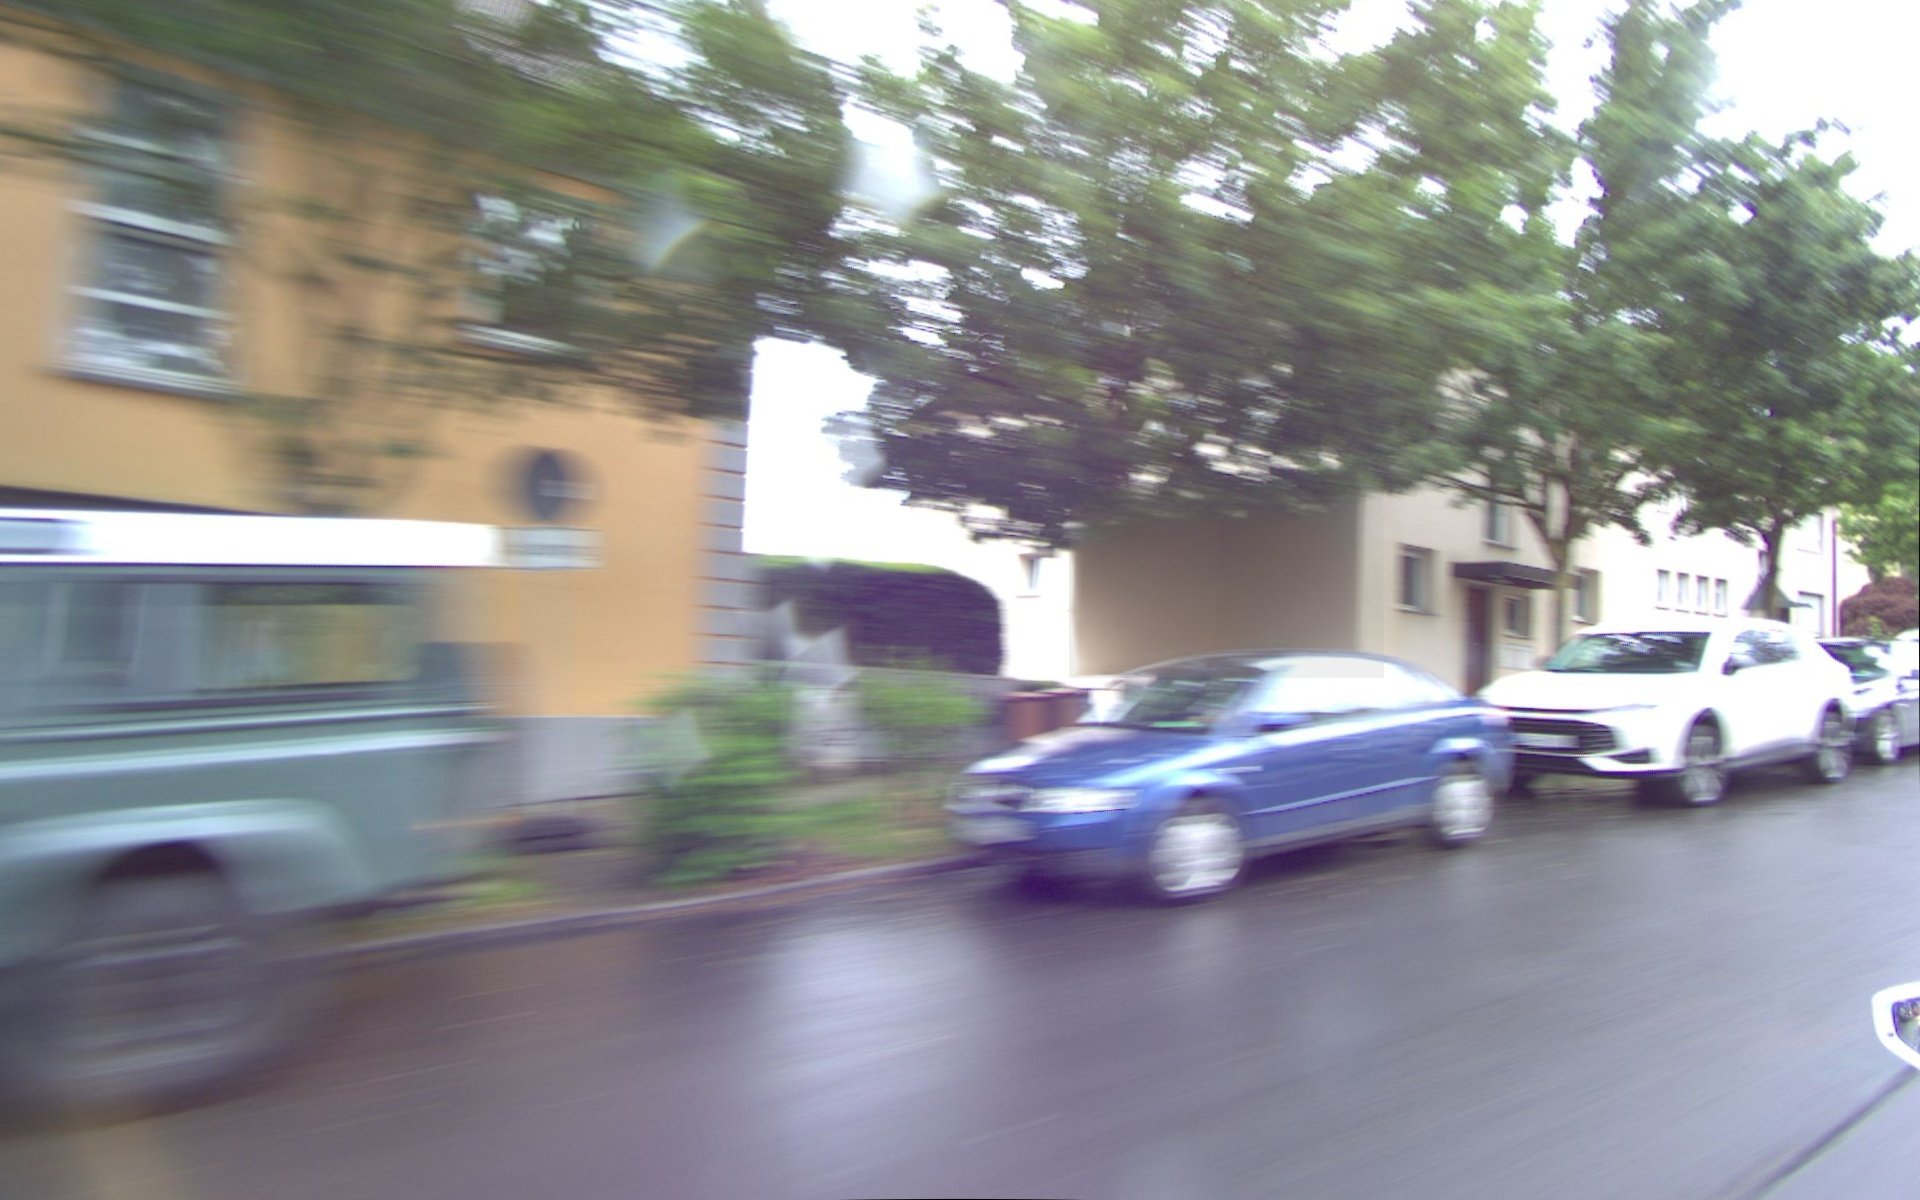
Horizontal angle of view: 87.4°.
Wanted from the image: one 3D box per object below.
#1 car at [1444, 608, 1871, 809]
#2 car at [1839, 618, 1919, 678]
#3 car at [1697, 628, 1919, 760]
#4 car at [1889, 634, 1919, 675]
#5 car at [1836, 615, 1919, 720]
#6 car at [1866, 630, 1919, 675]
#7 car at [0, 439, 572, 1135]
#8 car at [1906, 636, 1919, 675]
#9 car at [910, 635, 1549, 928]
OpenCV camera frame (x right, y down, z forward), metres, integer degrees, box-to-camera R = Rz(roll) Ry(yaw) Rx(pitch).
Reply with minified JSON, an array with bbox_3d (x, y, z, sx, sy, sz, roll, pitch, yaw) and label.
[{"bbox_3d":[7.171,0.979,10.216,4.635,1.648,1.760,1,-3,-30],"label":"car"},{"bbox_3d":[30.511,1.495,32.100,1.461,1.762,3.199,-1,-6,-29],"label":"car"},{"bbox_3d":[11.631,1.144,13.188,3.962,1.492,1.759,1,-3,-31],"label":"car"},{"bbox_3d":[34.177,1.747,34.311,1.461,1.389,3.199,-1,-7,-29],"label":"car"},{"bbox_3d":[15.914,1.058,16.046,3.962,1.559,1.759,1,-3,-31],"label":"car"},{"bbox_3d":[32.311,1.652,33.095,1.662,1.389,3.199,-1,-7,-29],"label":"car"},{"bbox_3d":[-3.979,0.608,3.345,4.732,2.076,1.781,0,-4,-34],"label":"car"},{"bbox_3d":[35.986,1.792,35.578,1.461,1.389,3.200,-1,-8,-29],"label":"car"},{"bbox_3d":[2.075,1.017,7.190,4.582,1.405,1.759,0,-2,-32],"label":"car"}]
